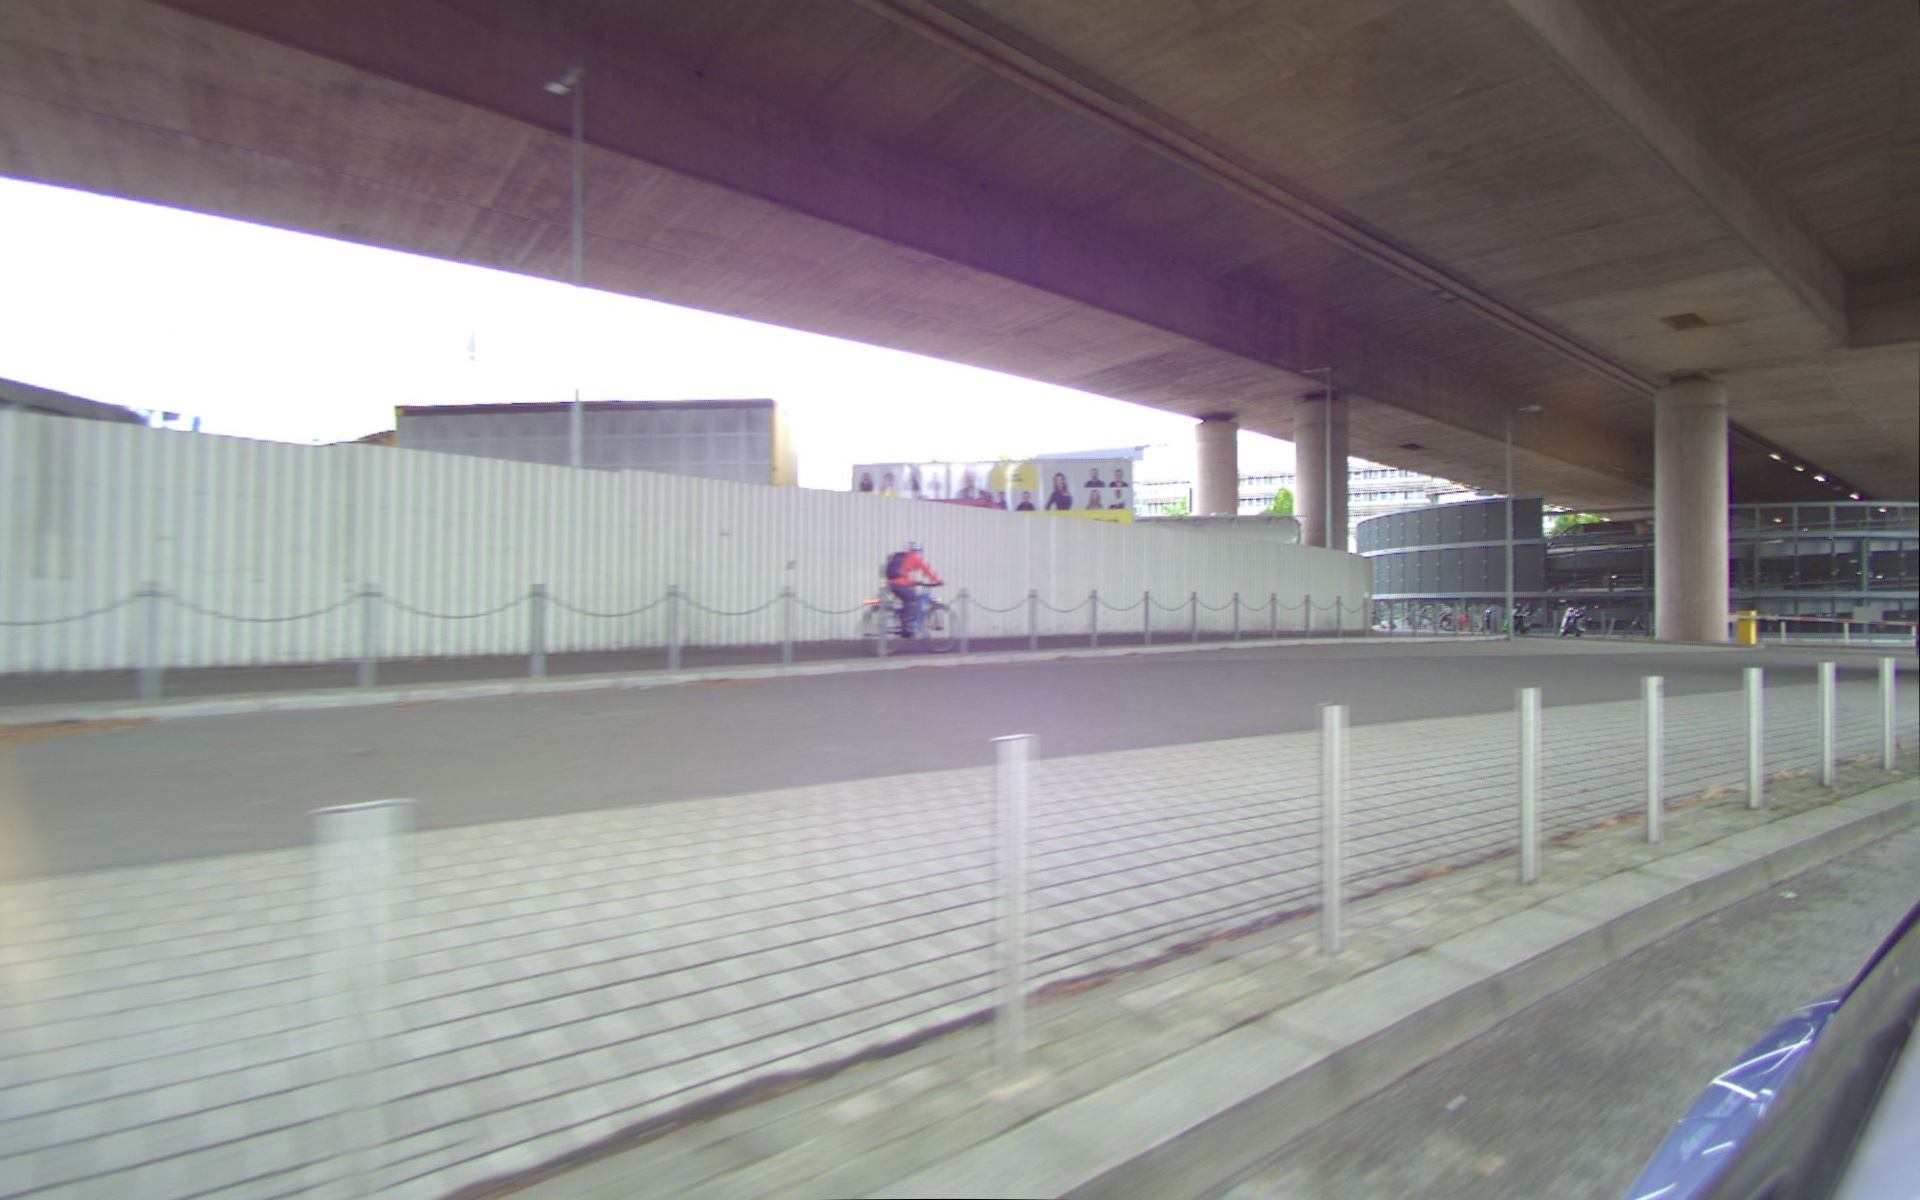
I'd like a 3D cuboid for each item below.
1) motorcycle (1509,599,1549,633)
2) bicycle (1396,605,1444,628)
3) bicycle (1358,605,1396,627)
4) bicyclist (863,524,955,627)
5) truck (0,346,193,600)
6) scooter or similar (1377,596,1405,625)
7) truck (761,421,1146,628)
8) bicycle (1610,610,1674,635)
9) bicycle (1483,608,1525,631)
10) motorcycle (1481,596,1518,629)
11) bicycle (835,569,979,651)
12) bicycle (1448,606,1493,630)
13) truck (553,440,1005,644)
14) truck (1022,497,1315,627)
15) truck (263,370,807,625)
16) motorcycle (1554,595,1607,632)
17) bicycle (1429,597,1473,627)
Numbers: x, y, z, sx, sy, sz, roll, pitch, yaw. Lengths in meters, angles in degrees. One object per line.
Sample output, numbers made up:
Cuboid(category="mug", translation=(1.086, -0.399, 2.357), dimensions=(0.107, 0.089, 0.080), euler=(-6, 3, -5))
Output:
Cuboid(category="motorcycle", translation=(21.722, 0.613, 38.637), dimensions=(2.287, 1.120, 0.544), euler=(6, -4, -40))
Cuboid(category="bicycle", translation=(20.855, 0.739, 45.940), dimensions=(0.388, 1.037, 2.063), euler=(2, -2, -34))
Cuboid(category="bicycle", translation=(19.739, 0.743, 47.934), dimensions=(0.428, 1.037, 1.736), euler=(2, -2, -30))
Cuboid(category="bicyclist", translation=(-0.735, -0.350, 14.681), dimensions=(0.796, 1.423, 1.049), euler=(2, 1, 44))
Cuboid(category="truck", translation=(-15.538, -1.743, 13.451), dimensions=(8.560, 2.979, 3.146), euler=(3, 3, 4))
Cuboid(category="scooter or similar", translation=(19.427, 0.485, 45.648), dimensions=(0.534, 1.234, 1.678), euler=(3, -3, 1))
Cuboid(category="truck", translation=(-0.164, -1.923, 26.890), dimensions=(9.543, 4.986, 3.147), euler=(1, 0, 1))
Cuboid(category="bicycle", translation=(26.592, 0.858, 39.479), dimensions=(2.011, 0.938, 0.413), euler=(0, -2, 42))
Cuboid(category="bicycle", translation=(27.391, 0.974, 50.966), dimensions=(1.780, 1.093, 0.430), euler=(0, -2, 40))
Cuboid(category="motorcycle", translation=(21.091, 0.507, 39.539), dimensions=(2.289, 1.120, 0.572), euler=(6, -4, -43))
Cuboid(category="bicycle", translation=(-0.736, 0.132, 14.695), dimensions=(0.802, 1.111, 2.097), euler=(2, 1, 44))
Cuboid(category="bicycle", translation=(22.232, 0.791, 44.080), dimensions=(0.429, 0.995, 1.731), euler=(3, -2, -42))
Cuboid(category="truck", translation=(-3.954, -1.312, 23.508), dimensions=(9.881, 4.236, 2.897), euler=(1, 0, 3))
Cuboid(category="truck", translation=(7.445, -1.375, 37.326), dimensions=(10.108, 4.357, 3.011), euler=(1, 0, 3))
Cuboid(category="truck", translation=(-8.106, -1.924, 20.243), dimensions=(9.543, 4.499, 3.147), euler=(1, 0, 1))
Cuboid(category="motorcycle", translation=(22.860, 0.516, 37.244), dimensions=(2.489, 1.251, 0.784), euler=(3, -1, -37))
Cuboid(category="bicycle", translation=(20.229, 0.505, 41.744), dimensions=(0.609, 1.120, 2.329), euler=(4, -3, -1))
